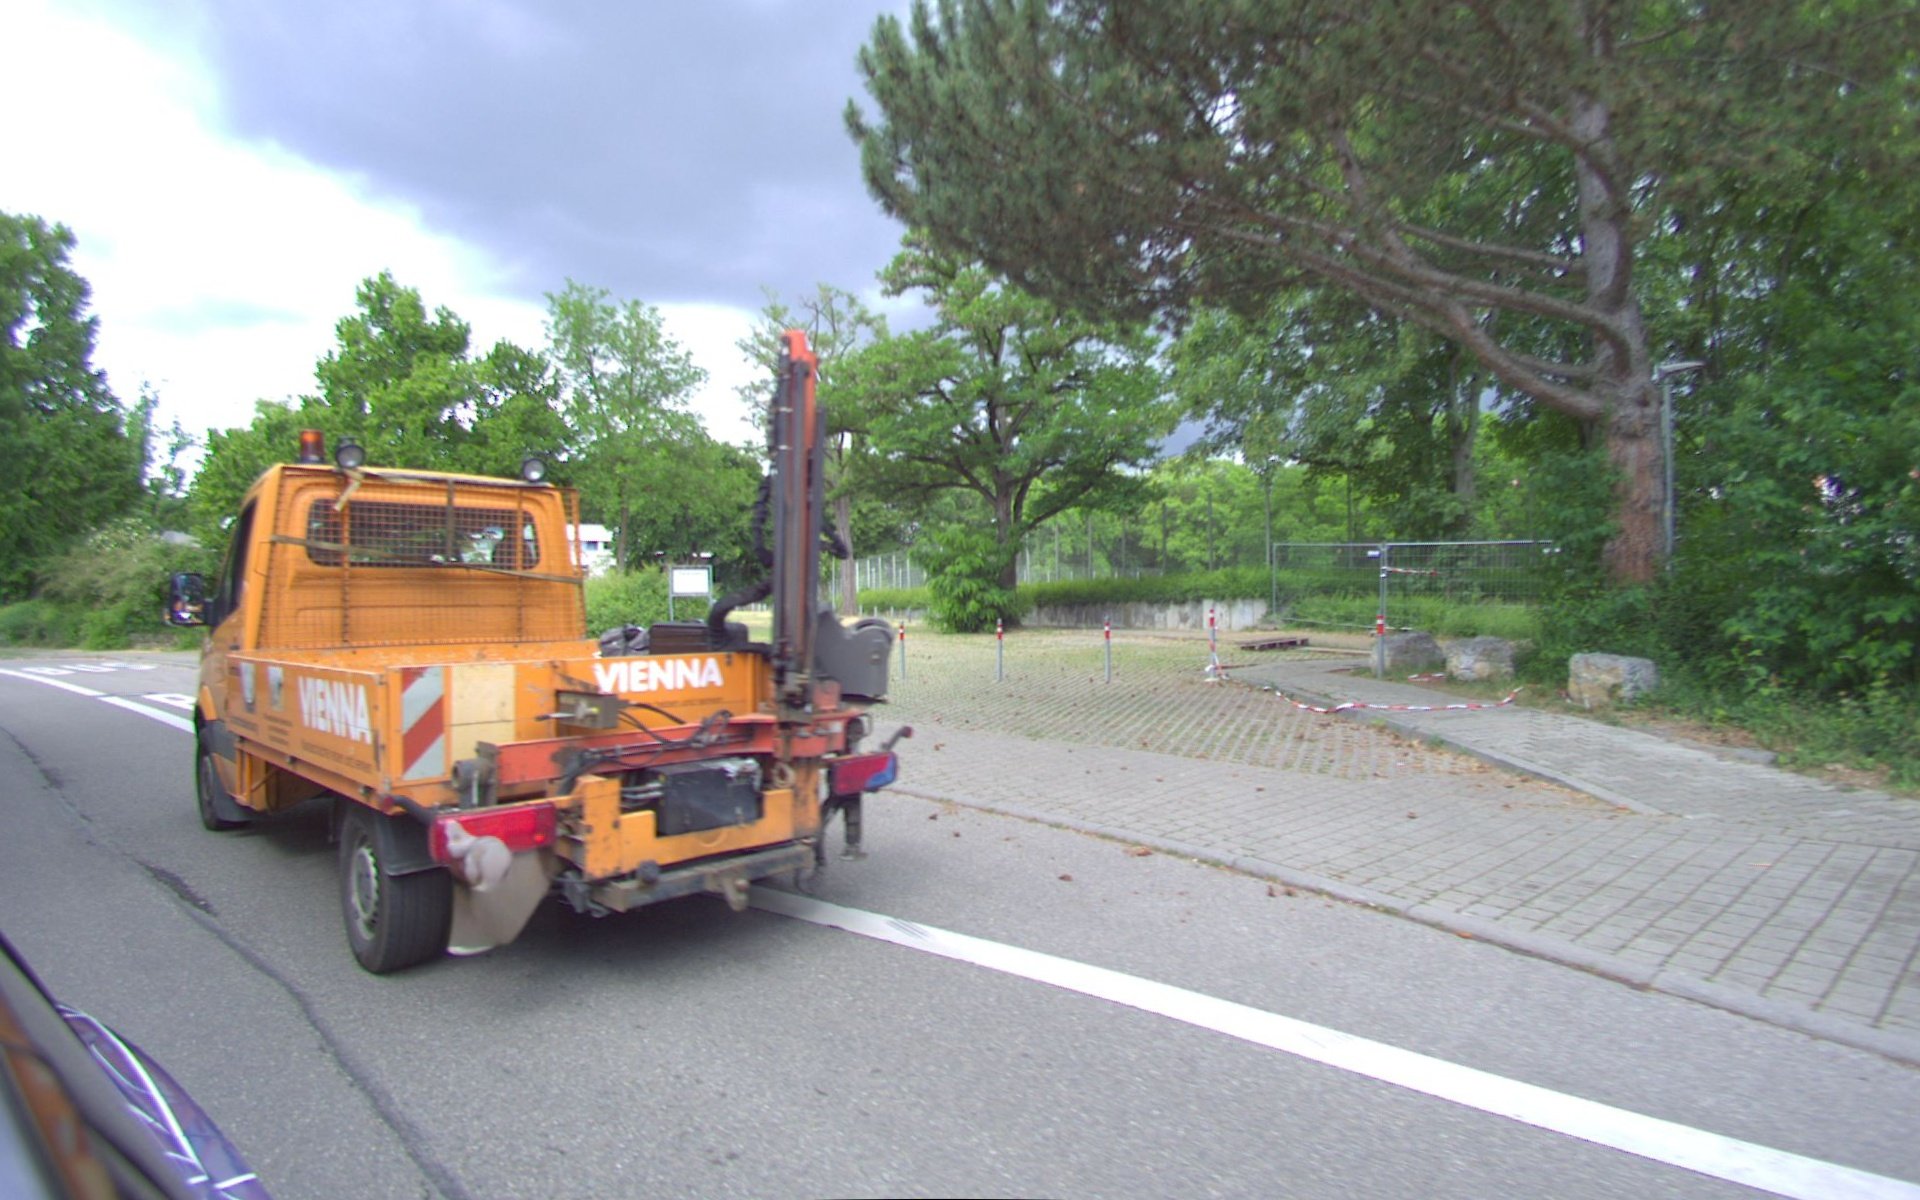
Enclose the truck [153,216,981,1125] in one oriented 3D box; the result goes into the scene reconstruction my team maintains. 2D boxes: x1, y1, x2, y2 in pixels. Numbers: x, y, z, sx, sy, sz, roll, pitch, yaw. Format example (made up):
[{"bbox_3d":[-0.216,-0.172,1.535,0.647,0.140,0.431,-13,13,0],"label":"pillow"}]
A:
[{"bbox_3d":[-2.828,0.224,5.775,2.295,2.488,6.026,-2,0,-43],"label":"truck"}]
